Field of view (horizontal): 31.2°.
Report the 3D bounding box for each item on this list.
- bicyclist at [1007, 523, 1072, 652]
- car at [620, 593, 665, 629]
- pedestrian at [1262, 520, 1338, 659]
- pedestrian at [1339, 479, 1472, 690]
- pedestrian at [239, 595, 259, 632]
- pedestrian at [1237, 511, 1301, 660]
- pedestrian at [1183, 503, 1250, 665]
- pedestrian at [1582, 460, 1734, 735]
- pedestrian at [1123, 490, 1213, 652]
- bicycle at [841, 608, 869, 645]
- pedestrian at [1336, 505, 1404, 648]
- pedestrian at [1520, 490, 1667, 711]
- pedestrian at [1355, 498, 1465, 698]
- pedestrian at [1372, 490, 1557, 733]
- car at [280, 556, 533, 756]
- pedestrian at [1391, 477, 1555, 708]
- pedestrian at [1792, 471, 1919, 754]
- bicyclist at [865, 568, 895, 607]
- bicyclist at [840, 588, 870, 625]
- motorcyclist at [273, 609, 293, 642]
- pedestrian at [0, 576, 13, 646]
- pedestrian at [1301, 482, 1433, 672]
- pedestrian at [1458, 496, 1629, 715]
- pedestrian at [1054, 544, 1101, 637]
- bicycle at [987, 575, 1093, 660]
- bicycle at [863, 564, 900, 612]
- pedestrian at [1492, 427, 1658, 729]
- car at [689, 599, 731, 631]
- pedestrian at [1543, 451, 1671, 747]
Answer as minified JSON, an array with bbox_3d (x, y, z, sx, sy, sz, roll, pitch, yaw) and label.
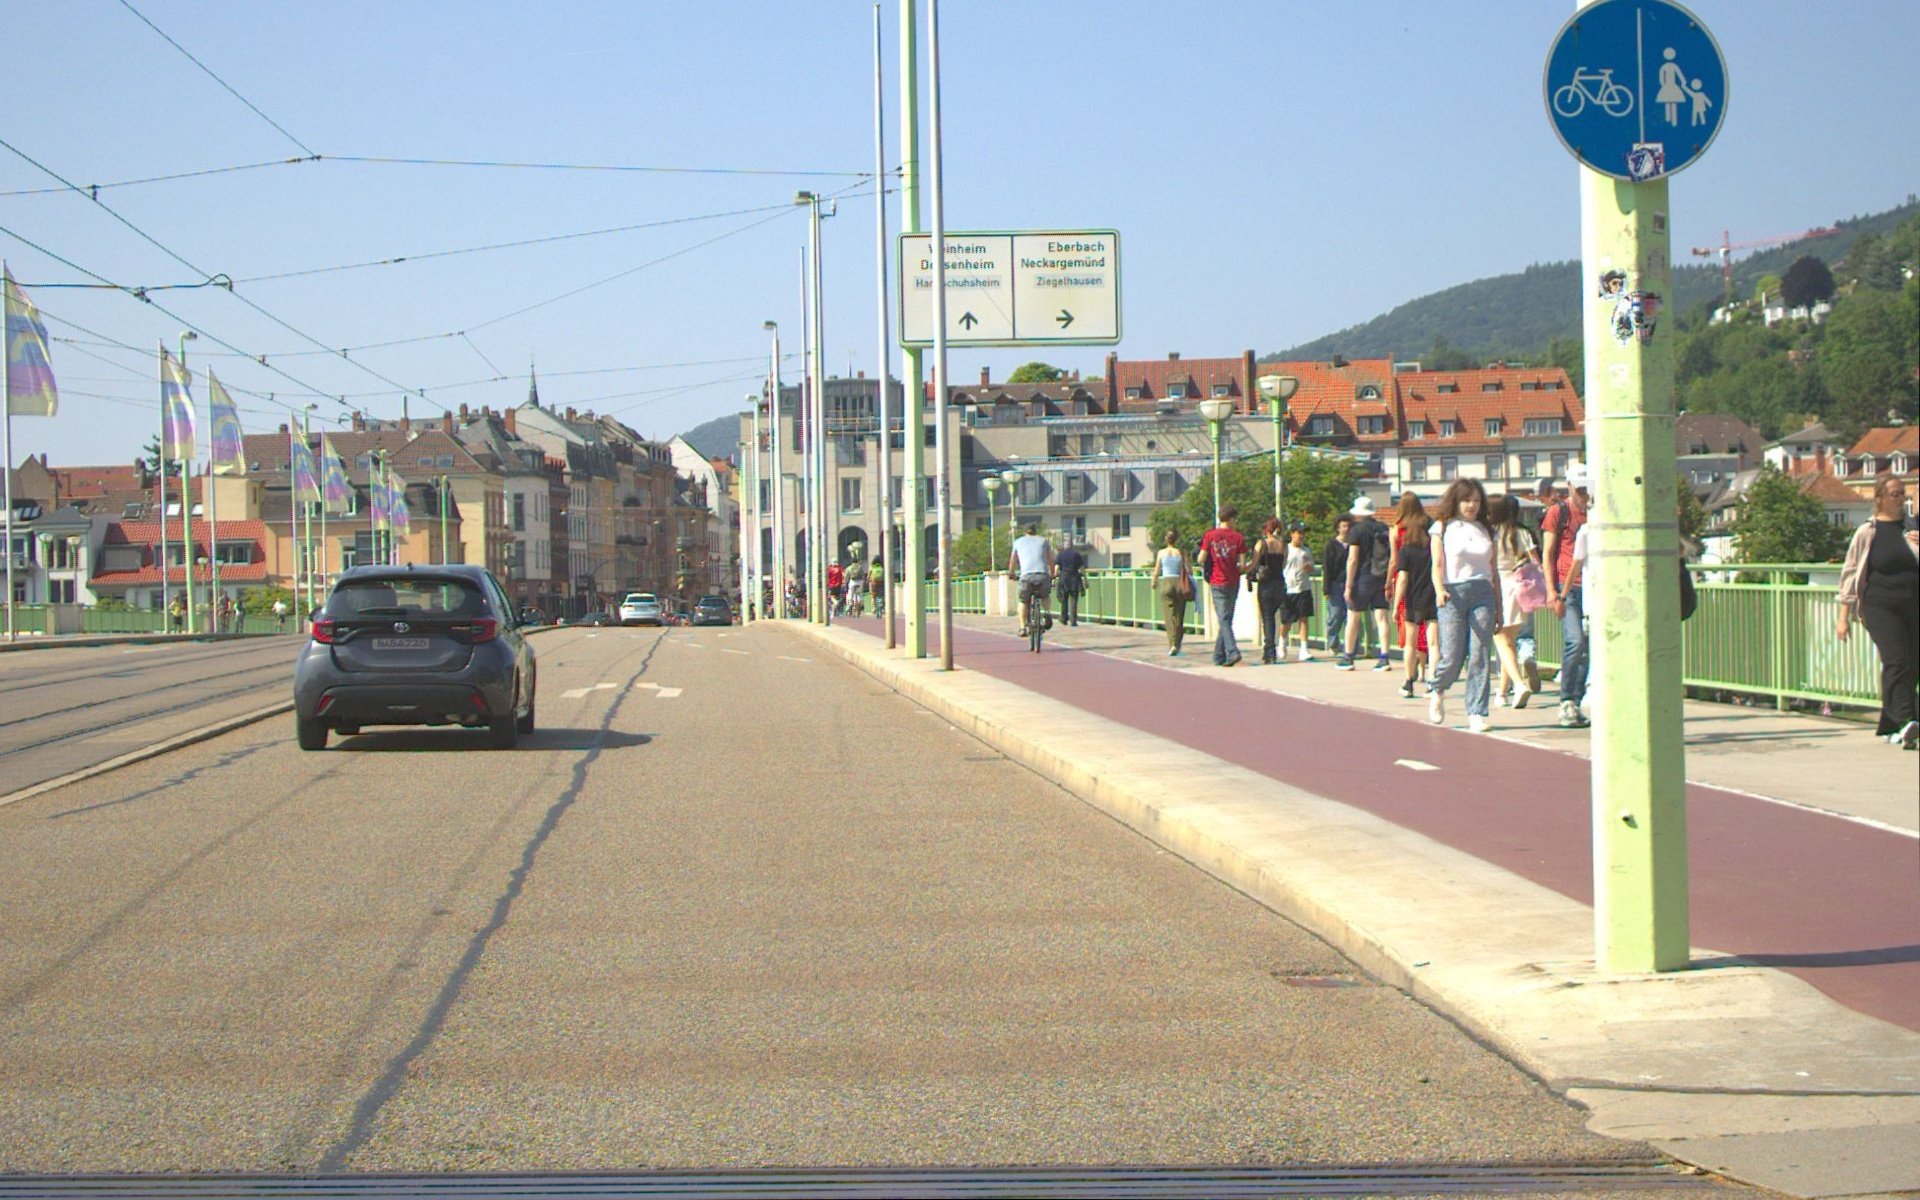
[{"bbox_3d":[1.088,-0.162,47.275,0.673,1.738,1.151,-1,0,-9],"label":"bicyclist"},{"bbox_3d":[-13.960,0.505,150.943,1.803,1.464,4.001,-2,-1,-7],"label":"car"},{"bbox_3d":[3.895,-0.118,39.401,0.649,1.557,0.692,-2,0,-10],"label":"pedestrian"},{"bbox_3d":[4.194,-0.138,32.428,1.015,1.947,0.939,-1,-1,-6],"label":"pedestrian"},{"bbox_3d":[-33.943,0.645,164.053,0.830,1.716,1.094,0,1,-6],"label":"pedestrian"},{"bbox_3d":[3.448,-0.155,38.386,0.522,1.644,0.700,-1,-1,-10],"label":"pedestrian"},{"bbox_3d":[2.855,-0.174,38.360,0.585,1.787,0.632,-1,-1,-9],"label":"pedestrian"},{"bbox_3d":[4.421,-0.014,21.819,0.695,1.711,0.732,-1,-1,-10],"label":"pedestrian"},{"bbox_3d":[2.610,-0.356,43.299,0.873,2.007,1.059,-1,-1,-10],"label":"pedestrian"},{"bbox_3d":[-3.019,0.771,98.723,0.618,1.034,2.051,-1,-1,-6],"label":"bicycle"},{"bbox_3d":[4.700,-0.265,39.432,0.649,1.626,0.692,0,0,-4],"label":"pedestrian"},{"bbox_3d":[4.913,0.007,26.713,0.833,1.671,0.886,-1,-1,-10],"label":"pedestrian"},{"bbox_3d":[3.759,-0.014,28.788,0.654,1.644,0.868,-1,-1,-10],"label":"pedestrian"},{"bbox_3d":[3.437,0.078,23.491,0.984,1.610,0.922,-1,-1,-10],"label":"pedestrian"},{"bbox_3d":[-4.517,0.422,28.550,1.909,1.535,4.001,0,0,-7],"label":"car"},{"bbox_3d":[3.965,-0.056,26.622,0.984,1.744,0.930,-1,-1,-10],"label":"pedestrian"},{"bbox_3d":[5.530,0.067,20.415,0.799,1.629,0.950,-1,0,-10],"label":"pedestrian"},{"bbox_3d":[-2.139,-0.332,91.623,0.666,1.041,0.980,0,0,-10],"label":"bicyclist"},{"bbox_3d":[-3.009,0.193,98.562,0.735,1.027,1.175,-1,-1,-6],"label":"bicyclist"},{"bbox_3d":[-31.925,1.205,162.206,0.800,1.544,1.069,-1,-1,-5],"label":"motorcyclist"},{"bbox_3d":[-27.724,0.320,98.189,1.097,2.007,1.295,-1,0,-7],"label":"pedestrian"},{"bbox_3d":[4.135,-0.223,35.029,0.984,1.888,1.254,-1,-1,-10],"label":"pedestrian"},{"bbox_3d":[4.863,0.041,28.738,0.984,1.763,1.254,-2,0,-10],"label":"pedestrian"},{"bbox_3d":[2.229,-0.192,65.273,0.654,1.738,0.979,-1,1,-11],"label":"pedestrian"},{"bbox_3d":[1.071,0.218,47.362,0.792,1.092,3.745,-2,1,-9],"label":"bicycle"},{"bbox_3d":[-2.097,-0.312,91.355,0.695,1.189,2.079,-1,-1,-8],"label":"bicycle"},{"bbox_3d":[4.185,-0.147,23.446,0.803,2.007,0.954,-1,-1,-10],"label":"pedestrian"},{"bbox_3d":[-11.959,0.724,164.660,1.804,1.464,4.000,-2,-1,-2],"label":"car"},{"bbox_3d":[3.994,-0.003,21.246,0.549,1.793,0.646,-1,-1,-10],"label":"pedestrian"}]
